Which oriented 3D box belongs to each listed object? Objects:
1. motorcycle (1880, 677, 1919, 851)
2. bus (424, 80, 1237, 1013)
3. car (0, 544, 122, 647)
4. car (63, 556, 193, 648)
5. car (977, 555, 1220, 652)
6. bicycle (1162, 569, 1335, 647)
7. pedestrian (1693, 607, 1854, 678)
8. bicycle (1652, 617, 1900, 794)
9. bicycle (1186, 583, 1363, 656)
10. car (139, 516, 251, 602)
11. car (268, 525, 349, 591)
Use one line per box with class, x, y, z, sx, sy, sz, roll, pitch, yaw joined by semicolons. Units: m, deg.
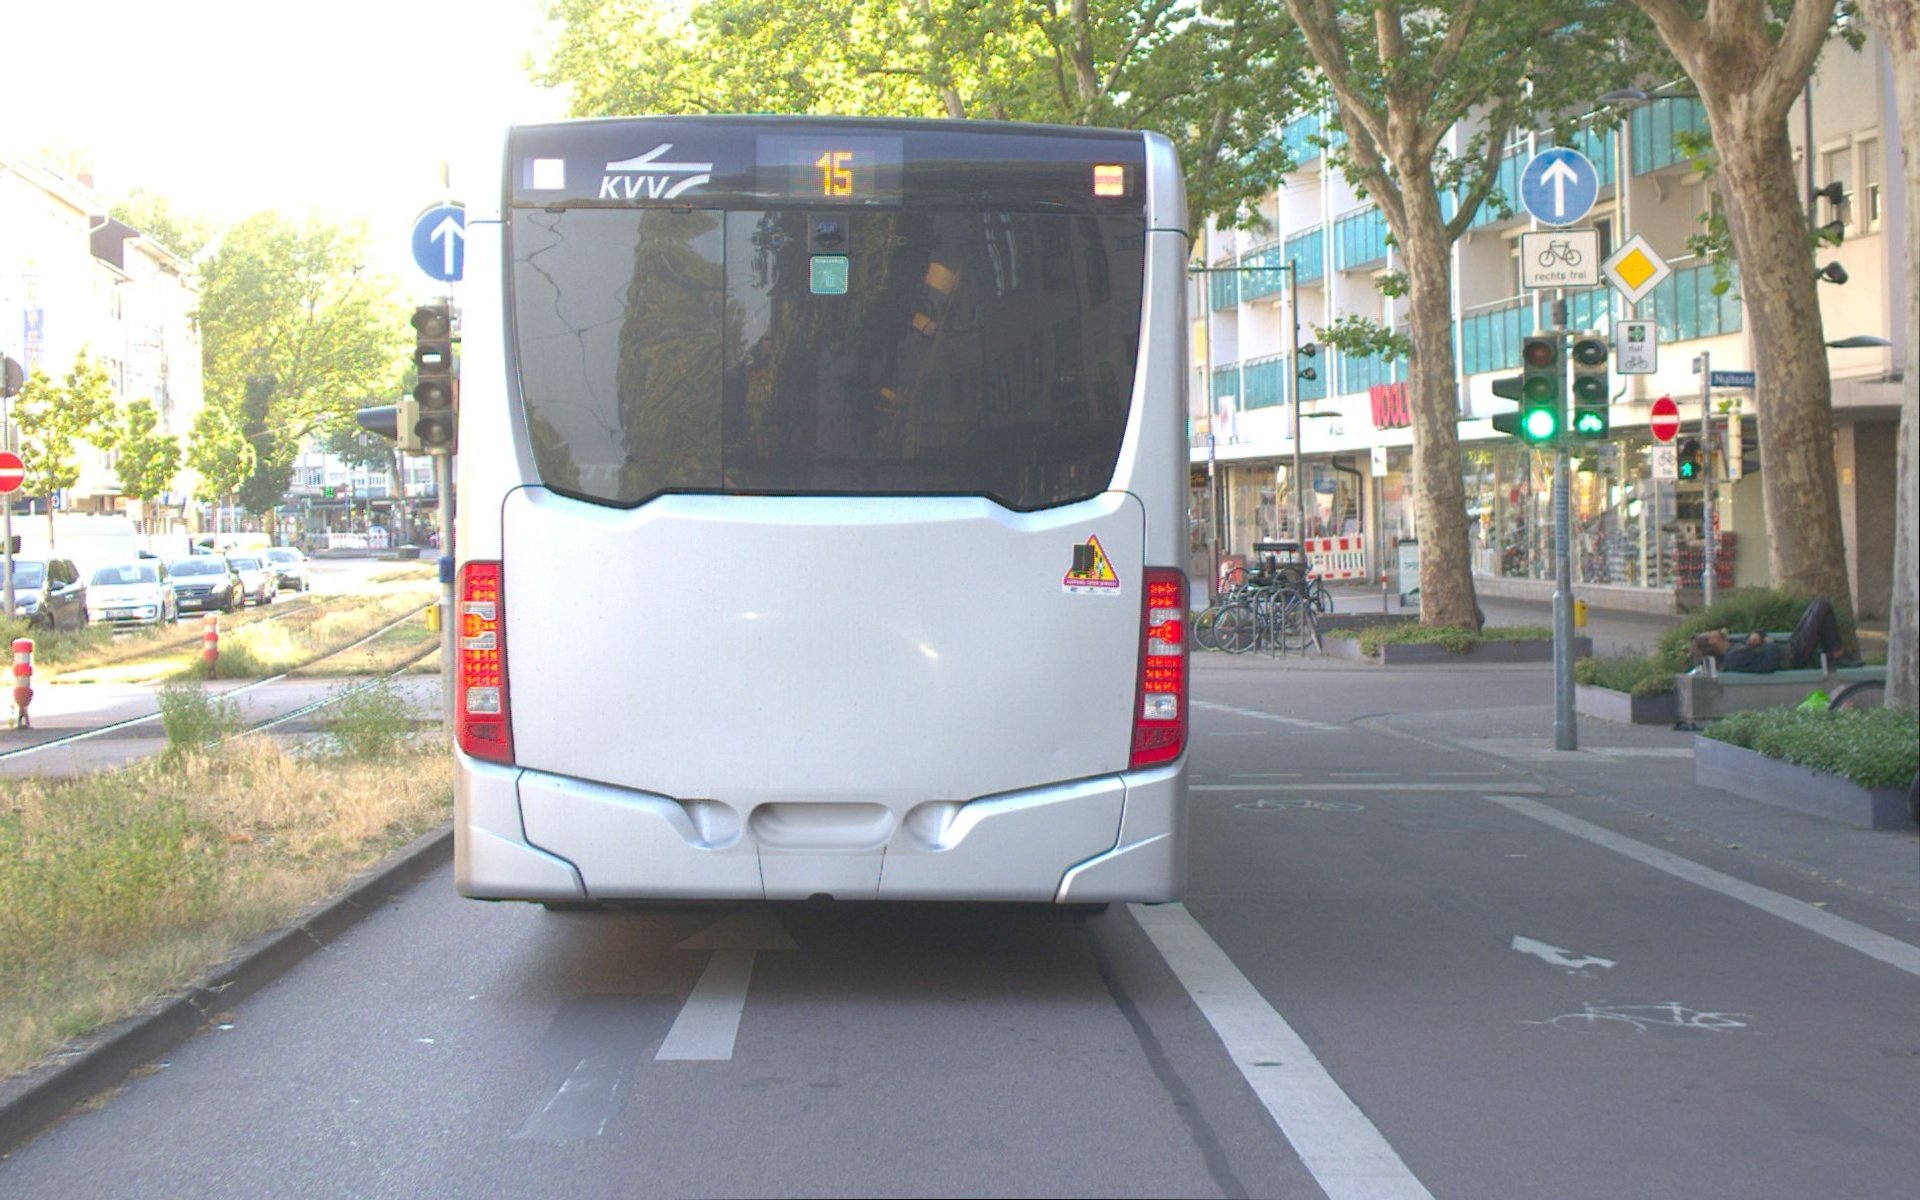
motorcycle;5.779;0.848;18.336;1.570;0.889;0.544;-1;1;-3
bus;-0.410;-0.245;14.915;2.678;3.073;7.114;0;1;0
car;-15.690;-0.109;58.248;1.780;1.609;4.508;1;1;1
car;-17.078;0.019;70.715;1.897;1.798;4.001;-1;1;-4
car;2.363;0.048;57.925;1.998;1.525;3.990;0;1;42
bicycle;4.107;0.110;48.954;2.309;1.025;0.837;-1;2;-9
pedestrian;6.908;0.356;29.213;1.254;0.587;0.482;0;1;-2
bicycle;5.483;0.705;23.126;1.509;1.101;0.460;2;1;0
bicycle;4.358;0.267;47.740;2.309;0.936;0.837;-1;2;-9
car;-18.433;-0.997;82.992;1.993;2.007;4.001;-1;1;-4
car;-20.368;-1.317;107.629;1.993;2.007;4.001;-1;1;-4
